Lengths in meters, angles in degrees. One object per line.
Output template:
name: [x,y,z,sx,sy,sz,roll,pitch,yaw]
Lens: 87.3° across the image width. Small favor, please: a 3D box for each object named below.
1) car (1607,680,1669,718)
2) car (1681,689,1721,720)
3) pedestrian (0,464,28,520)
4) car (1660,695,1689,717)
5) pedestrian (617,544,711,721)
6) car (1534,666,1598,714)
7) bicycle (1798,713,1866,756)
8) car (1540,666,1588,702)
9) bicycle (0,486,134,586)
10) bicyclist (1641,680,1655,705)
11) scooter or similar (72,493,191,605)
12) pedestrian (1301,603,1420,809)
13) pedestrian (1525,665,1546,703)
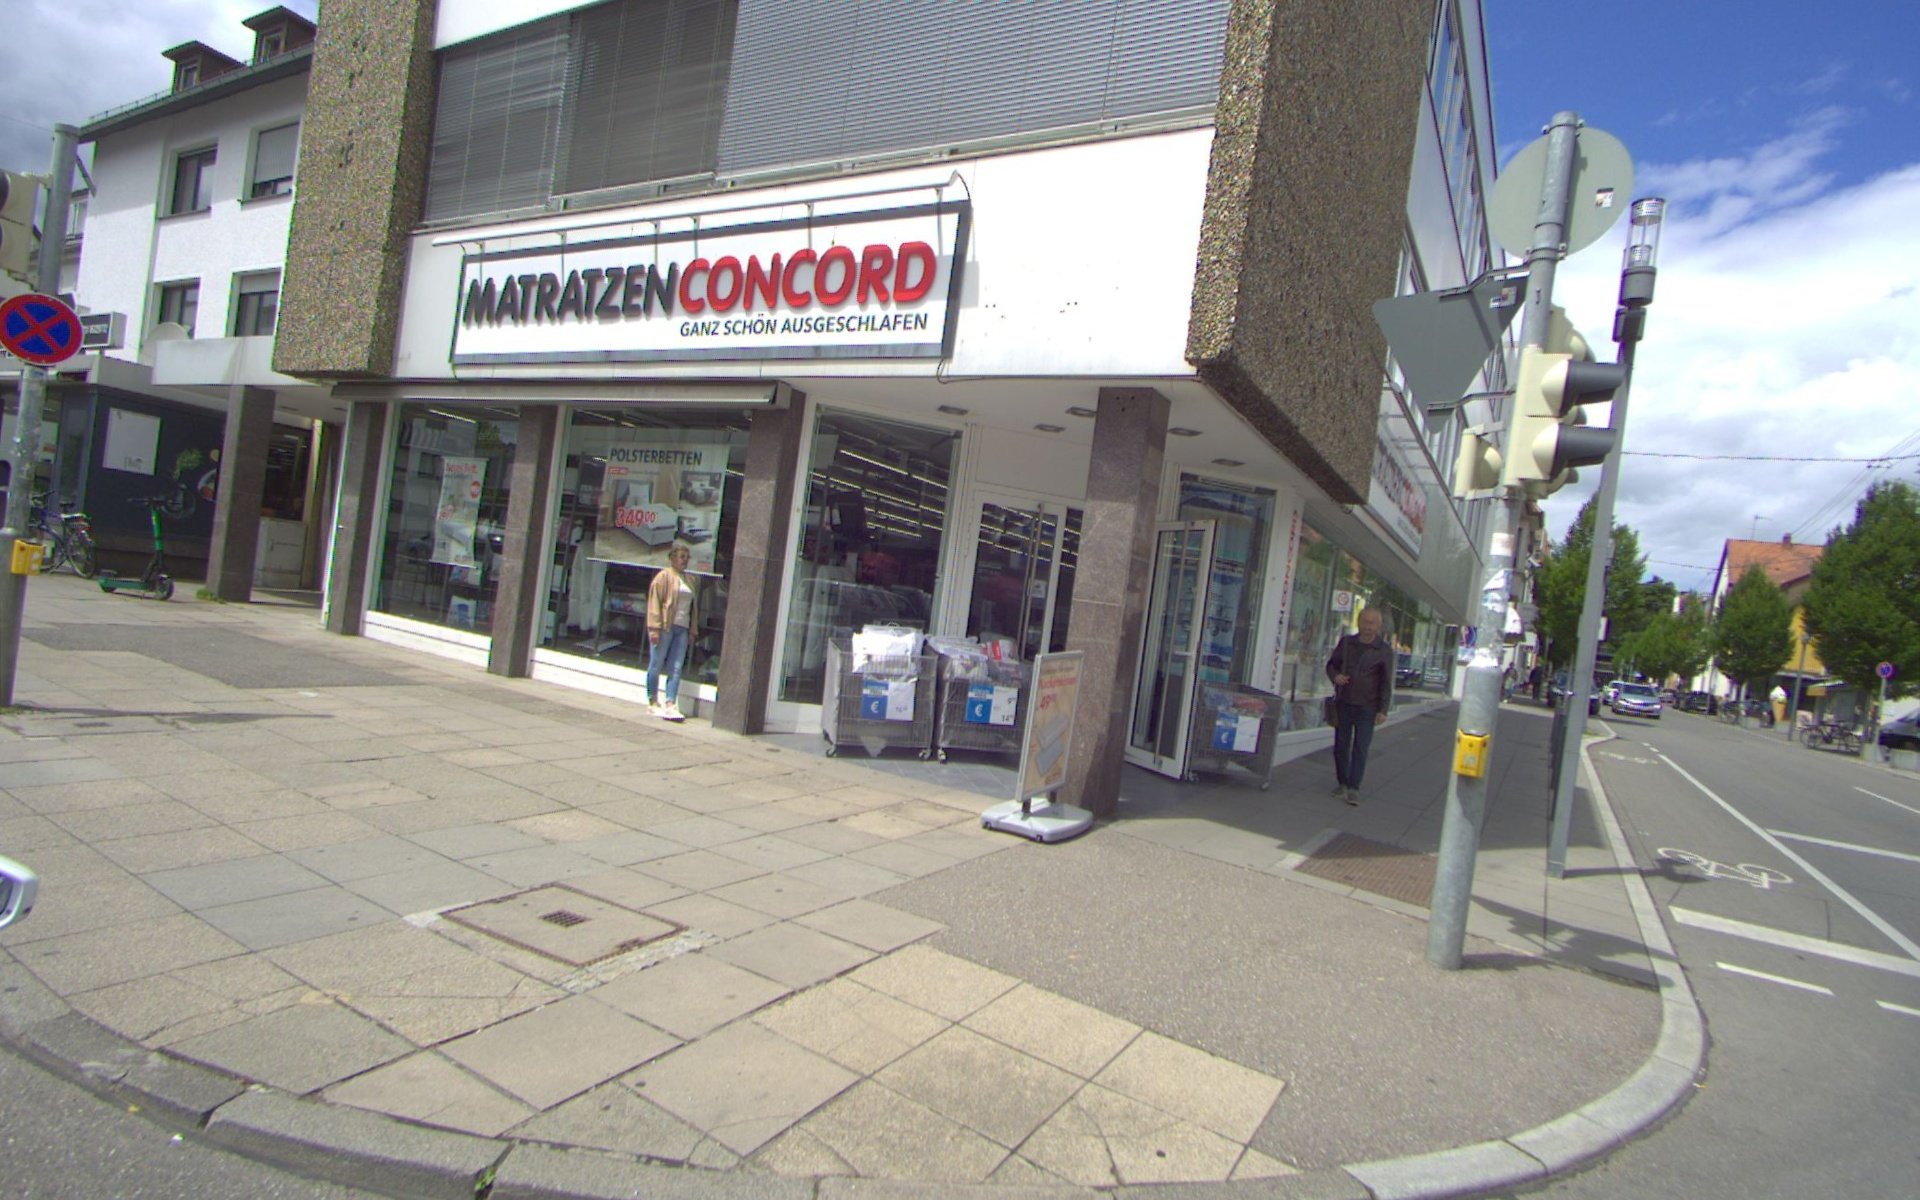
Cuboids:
car: [30.728,4.502,45.673,1.676,1.414,3.998,7,-2,27]
car: [50.337,7.092,68.367,1.652,1.818,3.811,7,-2,31]
pedestrian: [-19.171,-2.178,20.273,0.361,1.065,0.415,8,2,30]
car: [60.873,9.034,85.748,1.592,1.620,3.674,7,-2,31]
pedestrian: [-2.594,0.281,8.813,0.493,1.479,0.502,9,4,44]
car: [24.912,3.717,41.440,1.793,1.670,3.998,7,-2,27]
bicycle: [30.909,4.771,35.674,1.693,1.234,0.559,6,-1,40]
car: [33.209,4.635,55.388,1.793,1.670,3.998,7,-2,27]
bicycle: [-12.997,-0.937,14.349,2.256,1.159,0.556,8,2,13]
bicyclist: [51.421,6.930,75.201,0.681,1.782,0.944,7,-1,31]
scooter or similar: [-10.535,-0.648,12.805,1.222,1.270,0.341,7,3,5]
pedestrian: [3.598,0.933,9.091,0.608,1.729,0.579,7,3,-1]
pedestrian: [27.585,4.035,48.256,0.569,1.729,0.619,8,4,21]
